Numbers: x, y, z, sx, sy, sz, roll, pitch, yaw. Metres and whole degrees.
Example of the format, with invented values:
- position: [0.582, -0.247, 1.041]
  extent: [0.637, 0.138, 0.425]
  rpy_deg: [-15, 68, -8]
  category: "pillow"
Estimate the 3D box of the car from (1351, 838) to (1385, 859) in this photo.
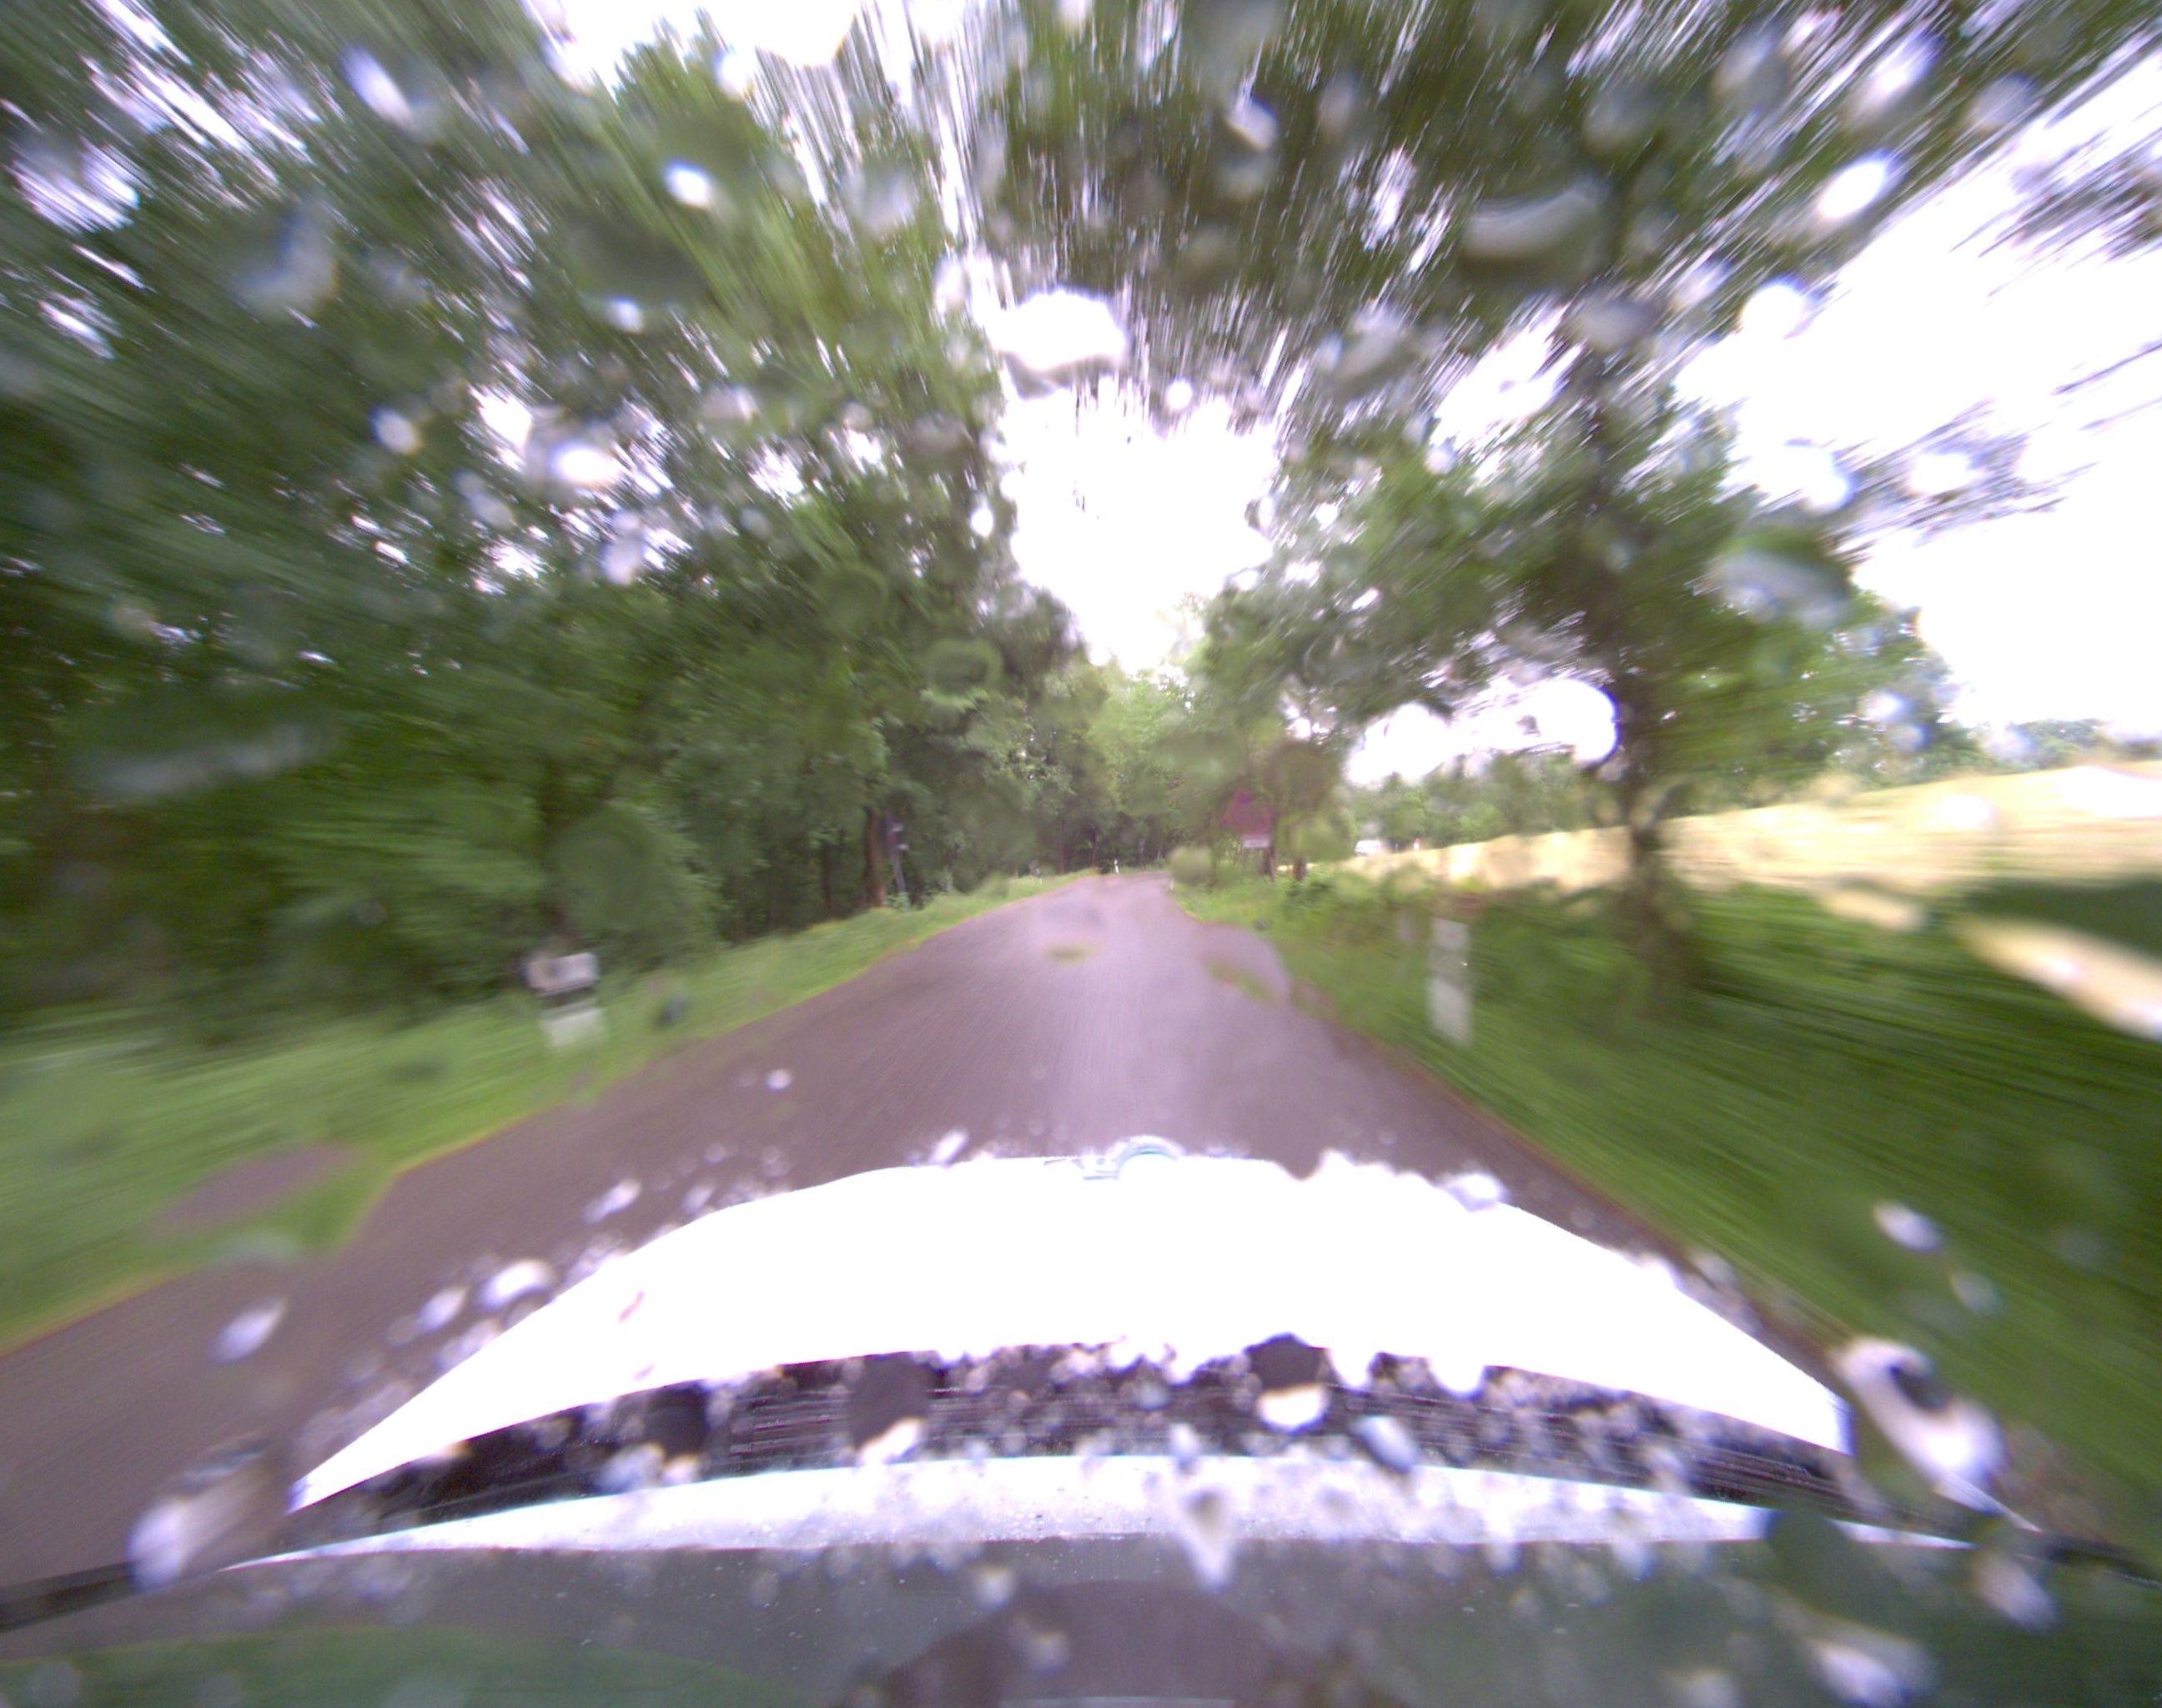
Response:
- position: [42.738, -0.868, 121.266]
  extent: [2.251, 2.697, 6.086]
  rpy_deg: [-4, 0, 44]
  category: "car"
